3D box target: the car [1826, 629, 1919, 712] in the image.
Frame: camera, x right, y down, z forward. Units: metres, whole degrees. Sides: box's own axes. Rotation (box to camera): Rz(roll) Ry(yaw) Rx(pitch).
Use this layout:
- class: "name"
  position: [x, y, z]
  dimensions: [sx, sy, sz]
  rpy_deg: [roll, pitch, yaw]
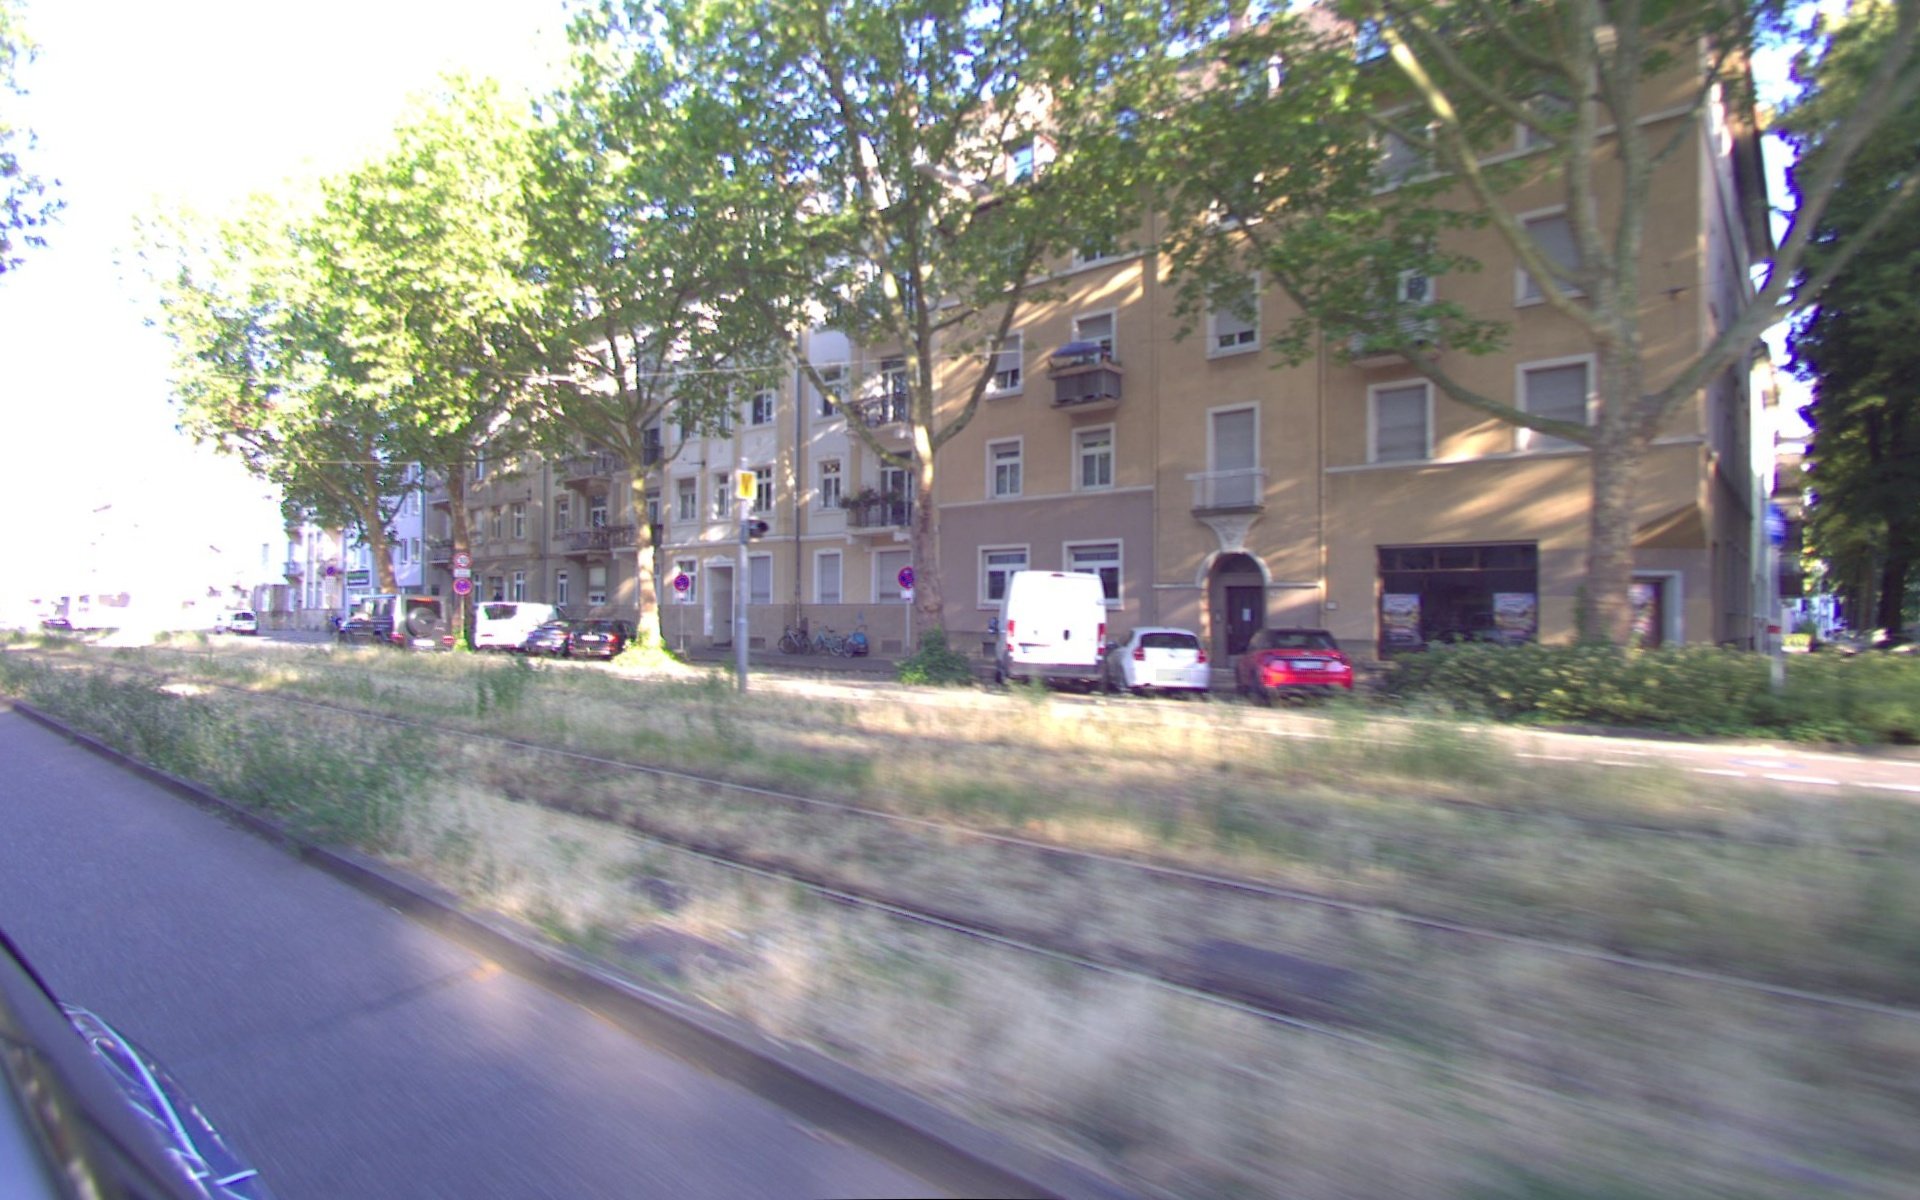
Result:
- class: "car"
  position: [19.765, 1.406, 19.387]
  dimensions: [4.482, 1.514, 1.790]
  rpy_deg: [2, -1, 11]

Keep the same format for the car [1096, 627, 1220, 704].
- class: "car"
  position: [3.960, 1.282, 20.831]
  dimensions: [1.711, 1.410, 3.711]
  rpy_deg: [0, -1, -2]

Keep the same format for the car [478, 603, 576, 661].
- class: "car"
  position: [-16.741, 1.199, 39.402]
  dimensions: [1.697, 2.082, 5.248]
  rpy_deg: [0, -1, -2]

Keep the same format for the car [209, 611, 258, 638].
- class: "car"
  position: [-51.819, 1.719, 72.138]
  dimensions: [4.653, 1.800, 1.884]
  rpy_deg: [0, -1, 42]

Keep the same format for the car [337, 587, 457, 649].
- class: "car"
  position: [-16.711, 0.493, 29.916]
  dimensions: [1.848, 1.706, 4.779]
  rpy_deg: [2, -1, -45]

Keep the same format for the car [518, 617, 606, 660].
- class: "car"
  position: [-14.544, 1.377, 37.189]
  dimensions: [1.697, 1.502, 4.178]
  rpy_deg: [0, -1, -2]

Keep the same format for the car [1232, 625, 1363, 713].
- class: "car"
  position: [6.263, 1.245, 19.149]
  dimensions: [1.716, 1.477, 3.699]
  rpy_deg: [0, -2, 9]

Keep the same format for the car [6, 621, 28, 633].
- class: "car"
  position: [-121.002, 3.452, 129.843]
  dimensions: [3.812, 1.491, 1.714]
  rpy_deg: [-1, -2, 41]

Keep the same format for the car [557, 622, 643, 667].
- class: "car"
  position: [-12.265, 1.470, 34.690]
  dimensions: [1.697, 1.433, 3.730]
  rpy_deg: [0, -1, -2]

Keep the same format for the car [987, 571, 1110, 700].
- class: "car"
  position: [1.834, 0.746, 22.853]
  dimensions: [2.095, 2.548, 5.510]
  rpy_deg: [0, -1, -2]

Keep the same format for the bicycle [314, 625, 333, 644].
- class: "bicycle"
  position: [-38.122, 2.050, 60.584]
  dimensions: [0.747, 1.040, 1.899]
  rpy_deg: [-6, 3, -36]

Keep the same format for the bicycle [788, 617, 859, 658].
- class: "bicycle"
  position: [-4.904, 1.326, 36.108]
  dimensions: [2.959, 1.401, 0.734]
  rpy_deg: [-1, -2, 41]

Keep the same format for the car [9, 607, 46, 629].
- class: "car"
  position: [-75.145, 1.431, 81.540]
  dimensions: [4.001, 1.696, 1.908]
  rpy_deg: [0, -1, 44]

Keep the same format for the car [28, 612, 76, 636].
- class: "car"
  position: [-60.918, 1.579, 67.878]
  dimensions: [4.696, 1.497, 1.698]
  rpy_deg: [-1, -4, 40]

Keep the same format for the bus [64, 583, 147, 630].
- class: "bus"
  position: [-66.108, 0.443, 78.134]
  dimensions: [11.973, 3.399, 3.220]
  rpy_deg: [0, -1, 42]

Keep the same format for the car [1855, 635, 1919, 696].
- class: "car"
  position: [23.671, 1.501, 23.195]
  dimensions: [4.370, 1.346, 1.790]
  rpy_deg: [0, -1, 11]

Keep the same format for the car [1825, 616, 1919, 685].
- class: "car"
  position: [28.021, 1.460, 29.312]
  dimensions: [4.412, 1.946, 1.773]
  rpy_deg: [0, -2, 38]

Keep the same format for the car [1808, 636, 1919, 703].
- class: "car"
  position: [25.757, 1.864, 27.167]
  dimensions: [4.205, 1.723, 1.747]
  rpy_deg: [0, -1, 21]

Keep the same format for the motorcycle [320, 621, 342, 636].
- class: "motorcycle"
  position: [-43.264, 1.963, 69.613]
  dimensions: [2.418, 1.028, 0.522]
  rpy_deg: [-1, 1, 40]

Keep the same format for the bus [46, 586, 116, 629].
- class: "bus"
  position: [-74.321, 0.595, 85.481]
  dimensions: [9.896, 3.399, 3.231]
  rpy_deg: [0, -1, 42]
